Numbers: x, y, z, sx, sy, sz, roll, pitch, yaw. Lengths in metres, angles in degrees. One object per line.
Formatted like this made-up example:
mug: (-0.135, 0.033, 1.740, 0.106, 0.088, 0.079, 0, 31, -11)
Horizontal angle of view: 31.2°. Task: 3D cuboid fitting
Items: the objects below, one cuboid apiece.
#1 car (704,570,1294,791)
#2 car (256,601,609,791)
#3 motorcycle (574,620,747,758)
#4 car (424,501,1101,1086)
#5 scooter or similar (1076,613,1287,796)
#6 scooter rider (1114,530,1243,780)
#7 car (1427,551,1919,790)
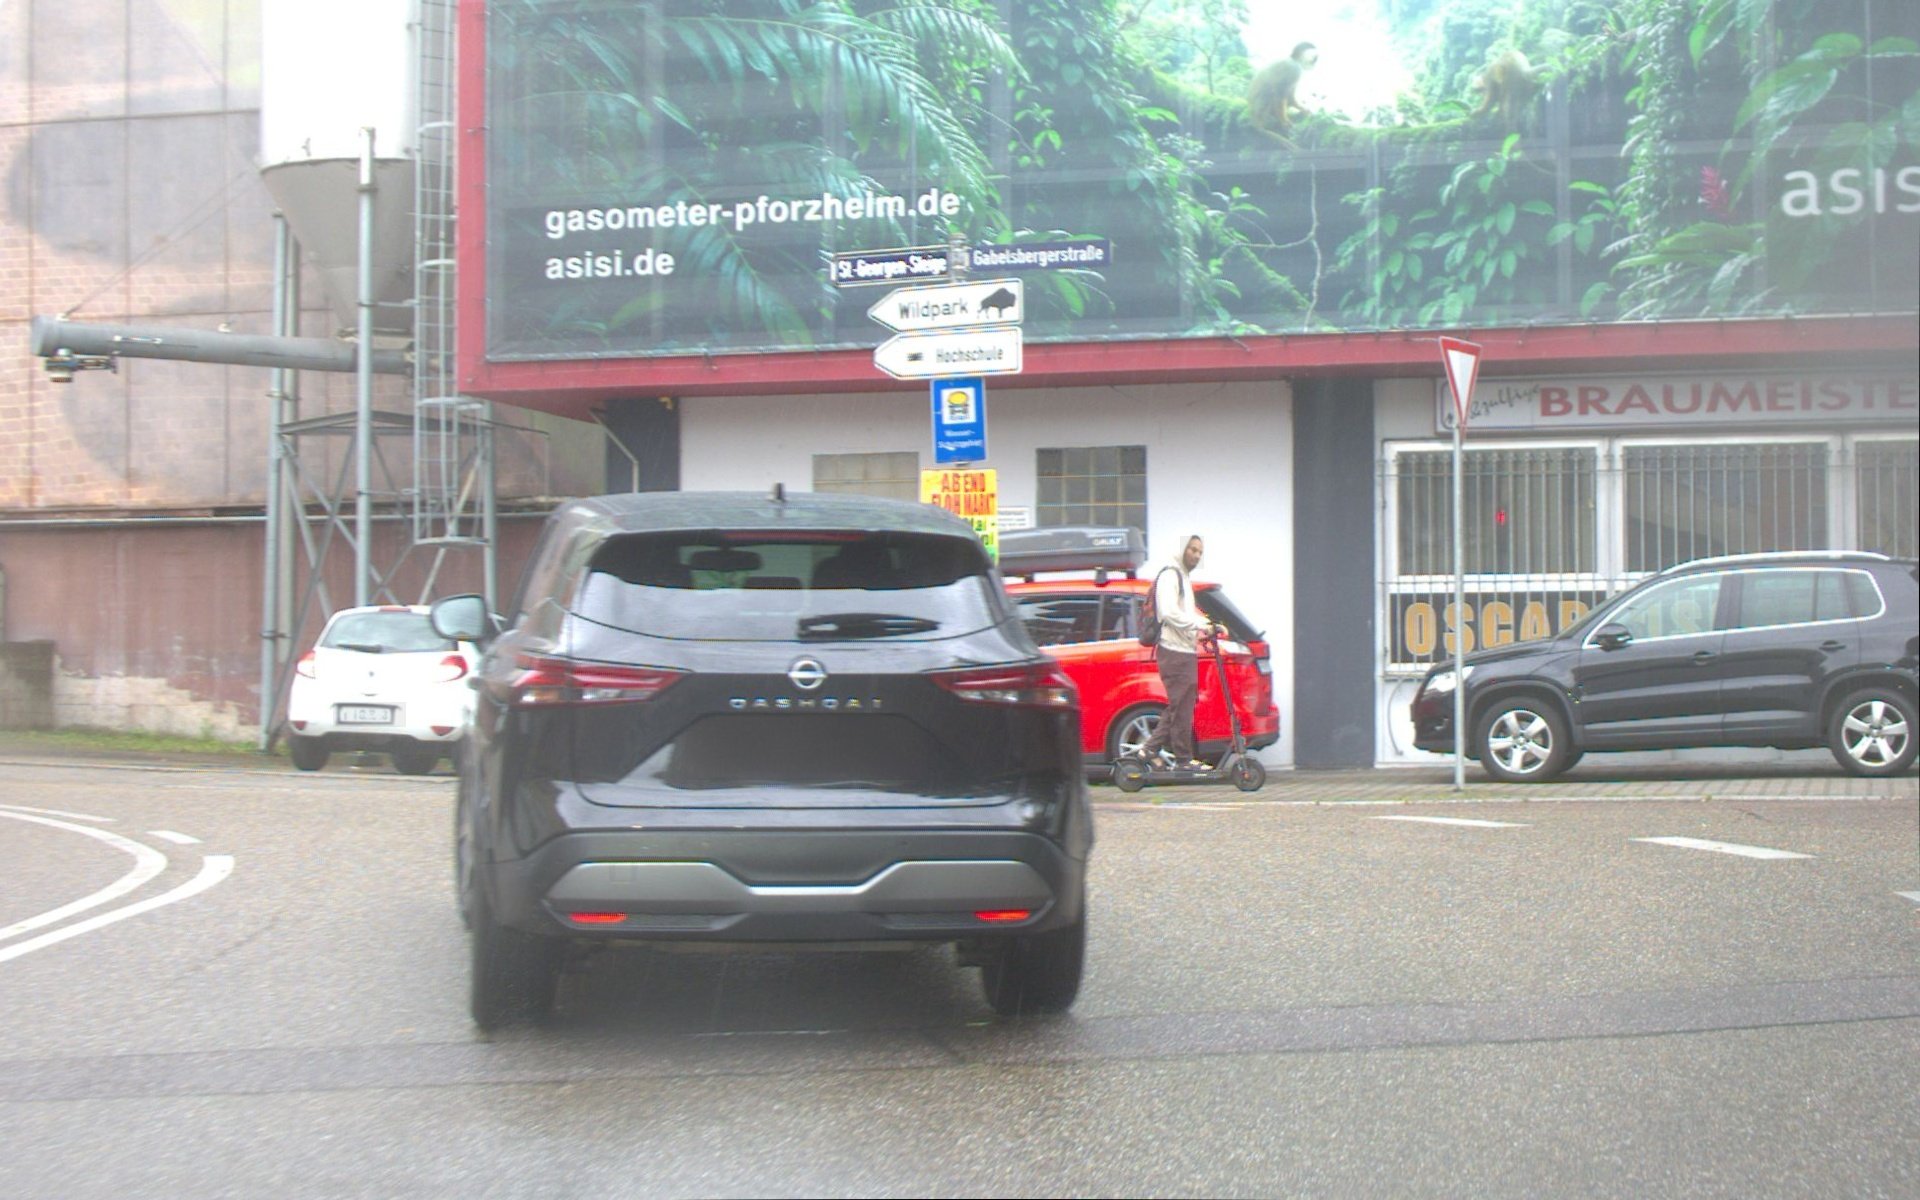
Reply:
car: (0.345, 0.637, 28.194, 4.480, 1.706, 1.931, 0, -1, 16)
car: (-4.702, 0.811, 31.215, 1.870, 1.528, 3.990, 1, 1, 12)
motorcycle: (-2.565, 0.765, 29.535, 1.419, 1.157, 0.452, 0, -2, 3)
car: (-0.760, 0.479, 11.520, 1.880, 1.588, 3.922, 0, 2, -6)
scooter or similar: (1.648, 0.764, 25.457, 1.405, 1.318, 0.804, 0, 0, 17)
scooter rider: (1.623, 0.398, 25.464, 0.780, 1.815, 0.804, -1, 0, 17)
car: (5.713, 0.538, 26.260, 3.990, 1.706, 1.931, -1, -1, 16)
